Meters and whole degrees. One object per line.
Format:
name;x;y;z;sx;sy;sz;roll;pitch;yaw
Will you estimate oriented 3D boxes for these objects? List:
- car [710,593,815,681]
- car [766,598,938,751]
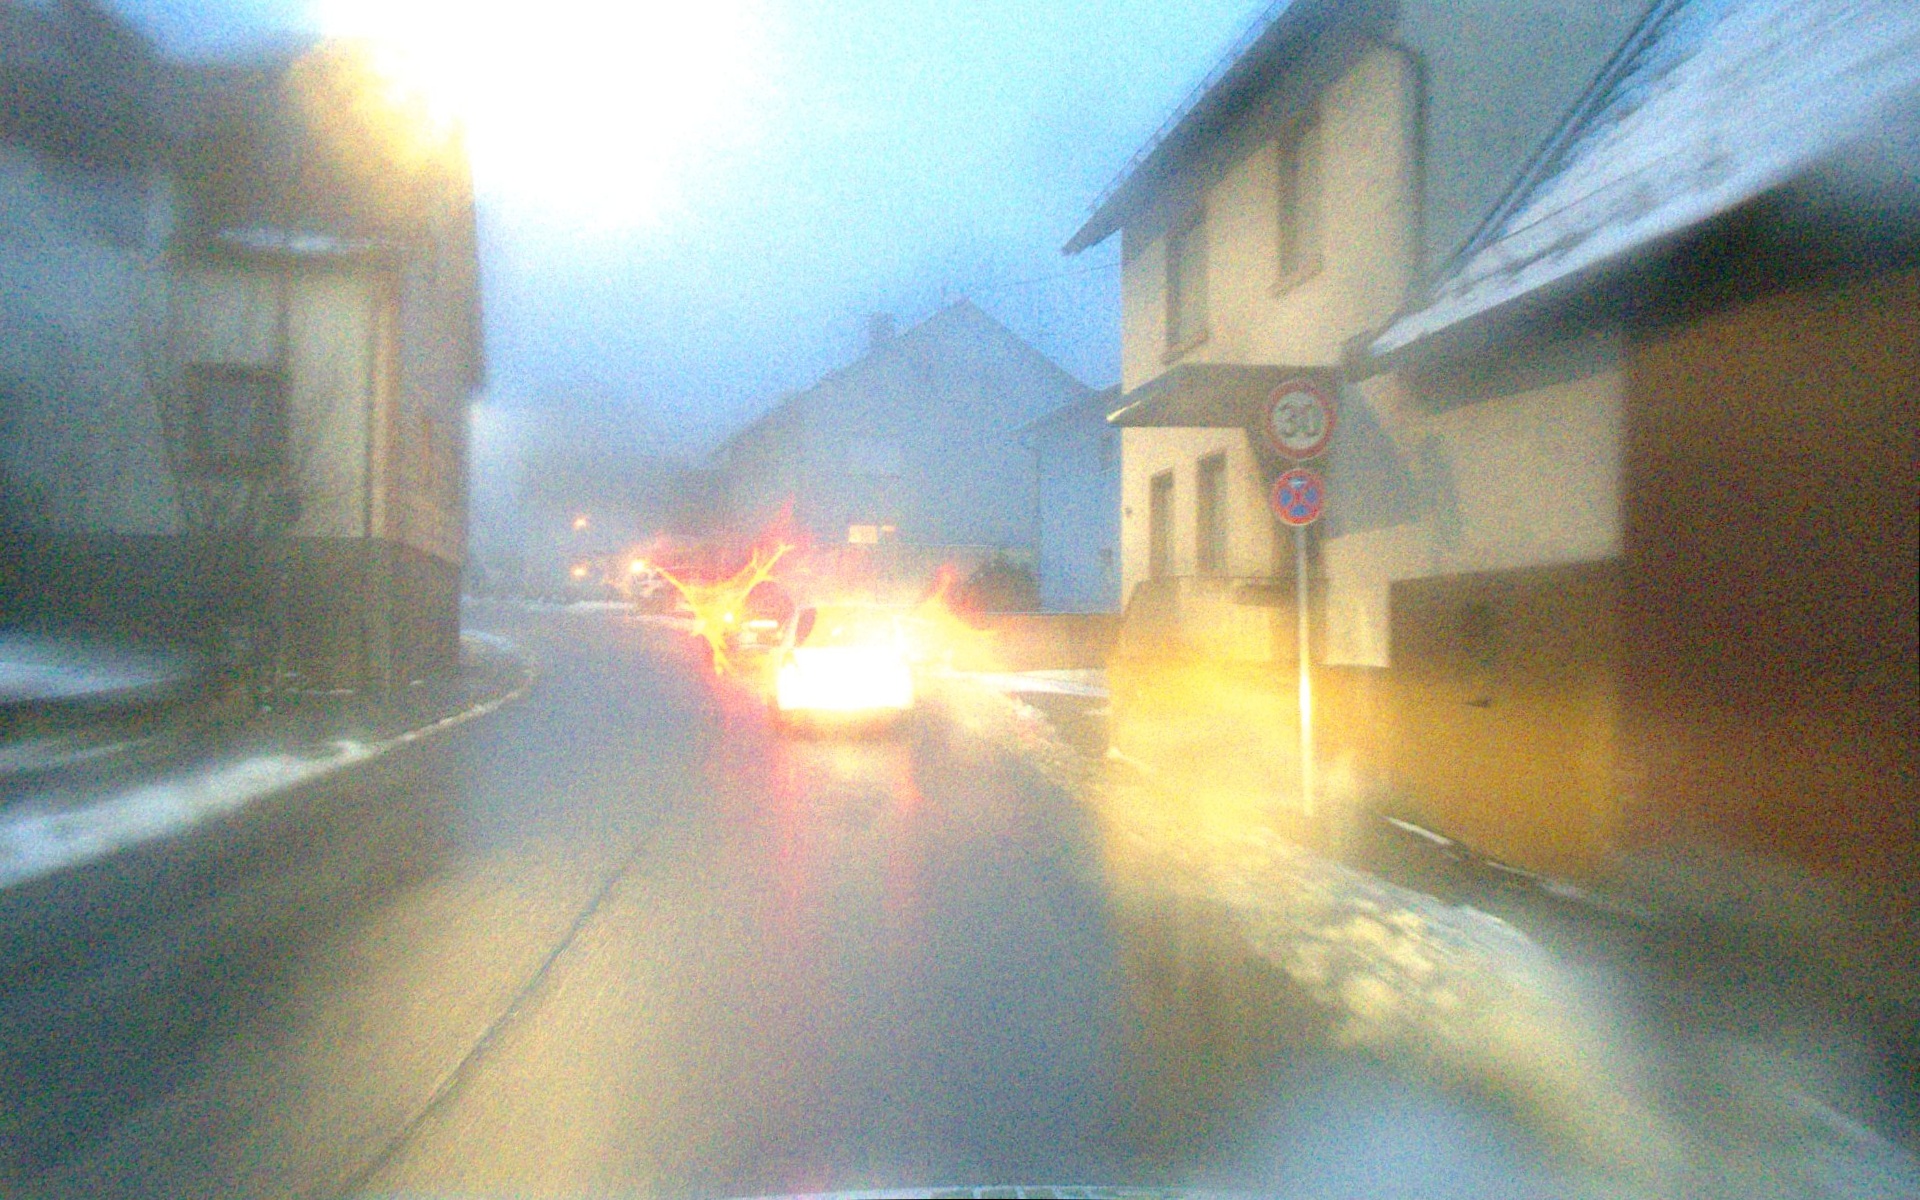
car;-3.973;0.742;32.848;1.617;1.624;3.686;1;-2;-14
car;-1.369;0.850;19.618;1.615;1.624;3.690;1;-2;-10
